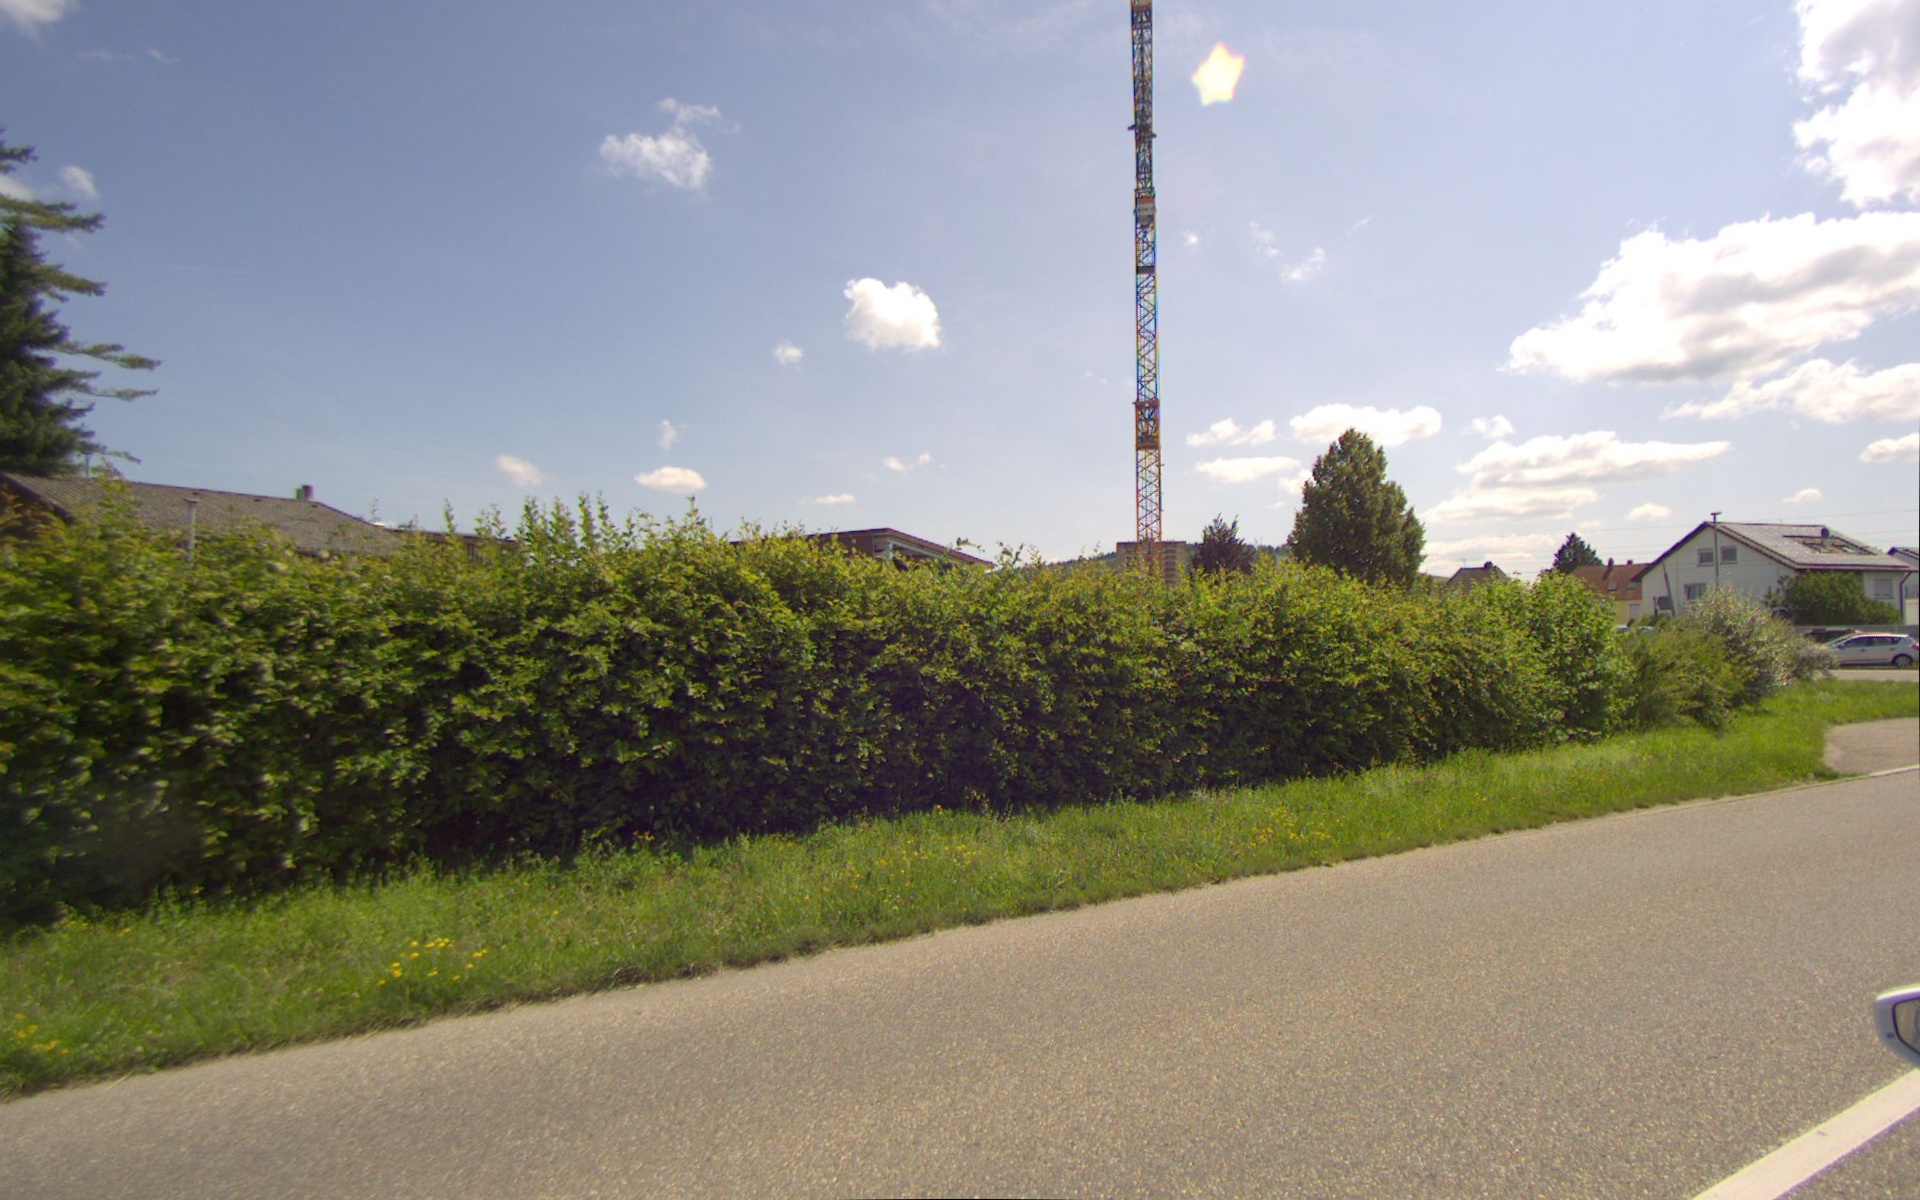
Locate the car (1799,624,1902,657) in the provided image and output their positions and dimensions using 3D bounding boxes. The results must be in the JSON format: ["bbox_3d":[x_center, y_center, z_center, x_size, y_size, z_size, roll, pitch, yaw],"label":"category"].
[{"bbox_3d":[44.729,2.052,50.503,3.792,1.610,1.488,-3,-3,45],"label":"car"}]

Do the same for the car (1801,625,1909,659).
[{"bbox_3d":[43.299,2.039,48.654,1.683,1.579,3.747,1,-3,-43],"label":"car"}]

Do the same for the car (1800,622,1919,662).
[{"bbox_3d":[41.716,1.968,46.527,4.117,1.660,1.944,-5,-5,43],"label":"car"}]

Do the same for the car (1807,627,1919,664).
[{"bbox_3d":[40.331,2.022,44.694,3.956,1.582,1.813,-2,-3,42],"label":"car"}]
